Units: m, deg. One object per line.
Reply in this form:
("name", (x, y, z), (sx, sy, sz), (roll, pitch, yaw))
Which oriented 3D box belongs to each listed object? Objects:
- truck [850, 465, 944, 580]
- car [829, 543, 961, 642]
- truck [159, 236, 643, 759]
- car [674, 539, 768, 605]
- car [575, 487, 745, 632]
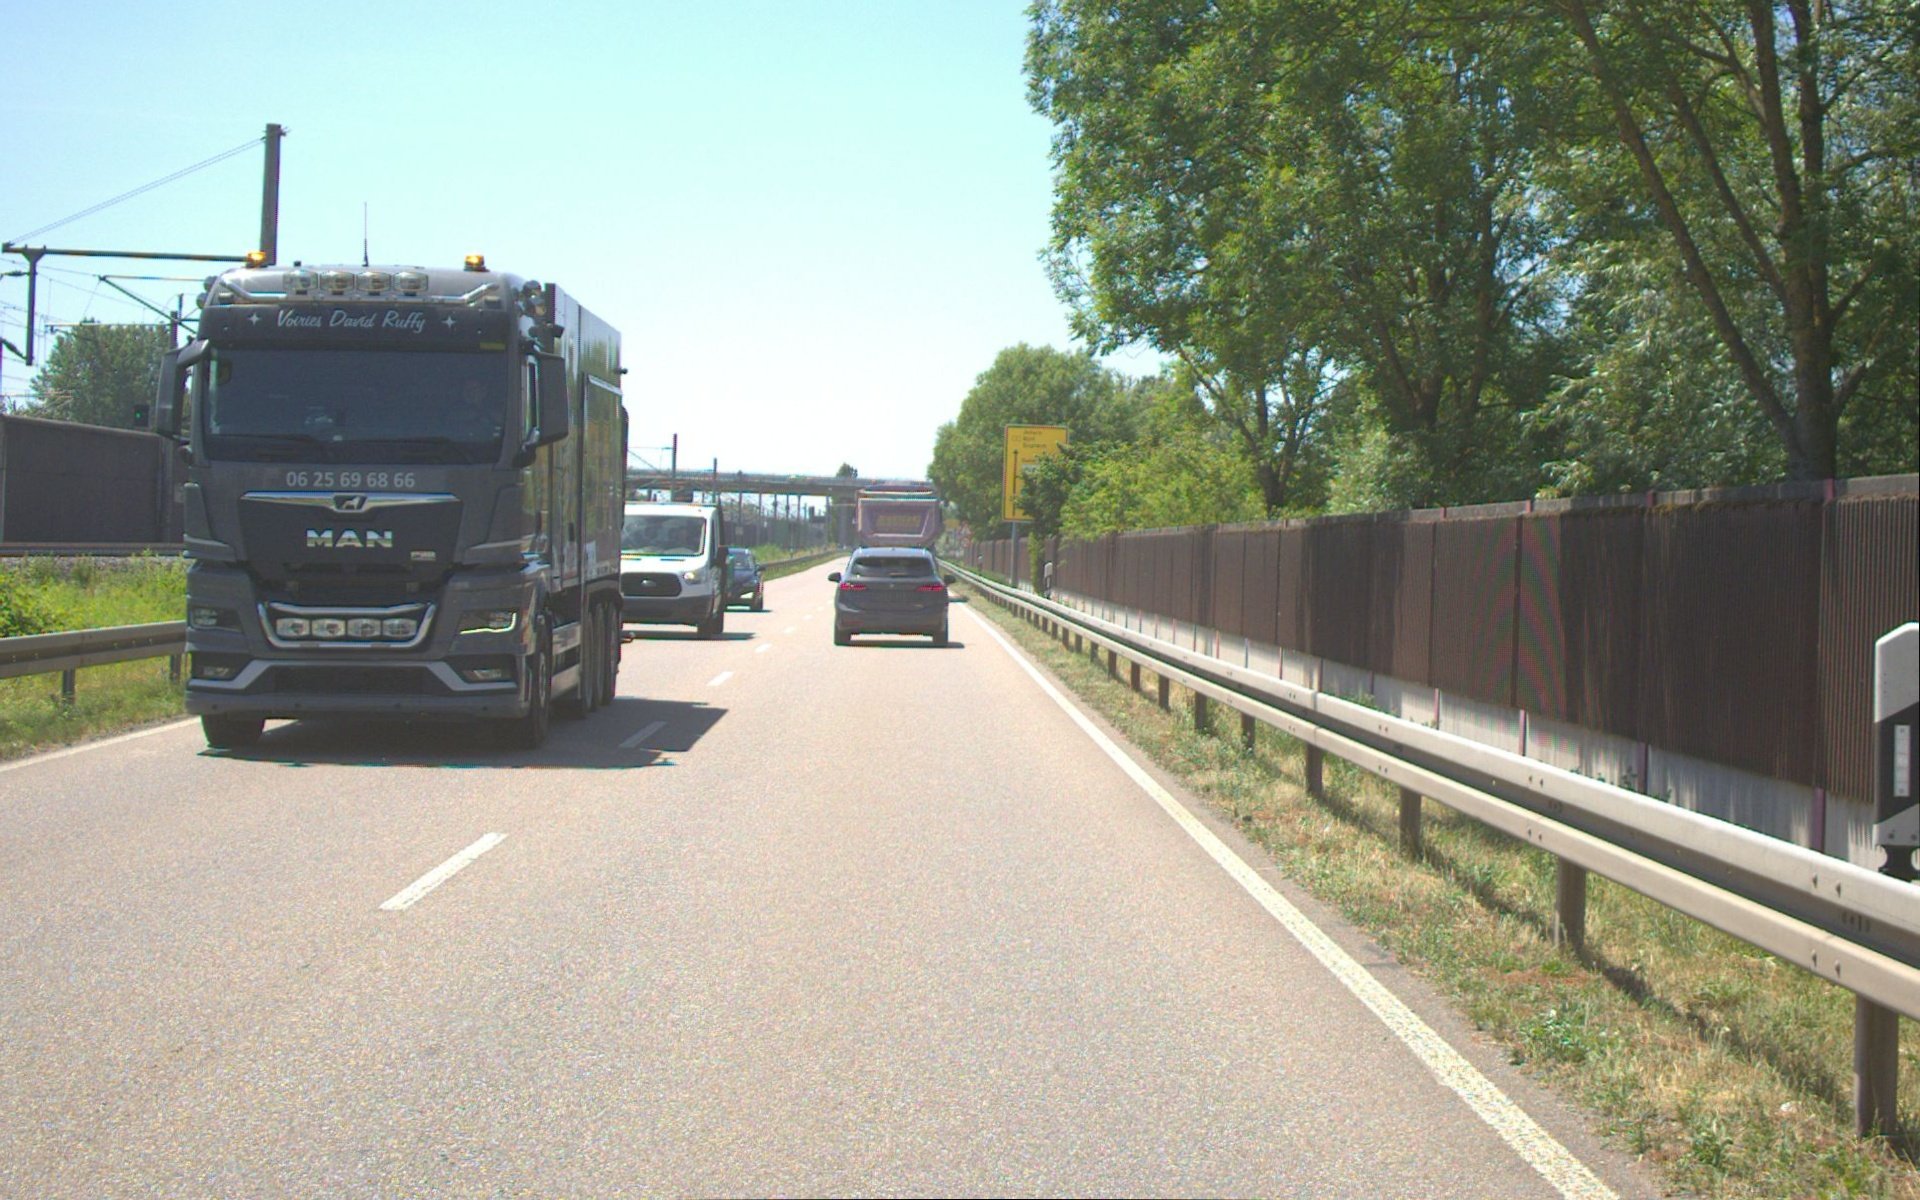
("truck", (-1.979, -2.415, 108.832), (2.770, 3.413, 10.820), (1, 1, -1))
("car", (-1.088, -0.149, 55.407), (1.993, 1.503, 4.001), (1, 1, -3))
("truck", (-4.439, -0.838, 29.666), (2.658, 3.614, 10.979), (1, 1, -2))
("car", (-5.704, -0.691, 82.392), (1.975, 1.503, 4.163), (1, 1, -1))
("car", (-5.004, -0.700, 58.168), (2.261, 2.279, 6.235), (1, 1, 0))
